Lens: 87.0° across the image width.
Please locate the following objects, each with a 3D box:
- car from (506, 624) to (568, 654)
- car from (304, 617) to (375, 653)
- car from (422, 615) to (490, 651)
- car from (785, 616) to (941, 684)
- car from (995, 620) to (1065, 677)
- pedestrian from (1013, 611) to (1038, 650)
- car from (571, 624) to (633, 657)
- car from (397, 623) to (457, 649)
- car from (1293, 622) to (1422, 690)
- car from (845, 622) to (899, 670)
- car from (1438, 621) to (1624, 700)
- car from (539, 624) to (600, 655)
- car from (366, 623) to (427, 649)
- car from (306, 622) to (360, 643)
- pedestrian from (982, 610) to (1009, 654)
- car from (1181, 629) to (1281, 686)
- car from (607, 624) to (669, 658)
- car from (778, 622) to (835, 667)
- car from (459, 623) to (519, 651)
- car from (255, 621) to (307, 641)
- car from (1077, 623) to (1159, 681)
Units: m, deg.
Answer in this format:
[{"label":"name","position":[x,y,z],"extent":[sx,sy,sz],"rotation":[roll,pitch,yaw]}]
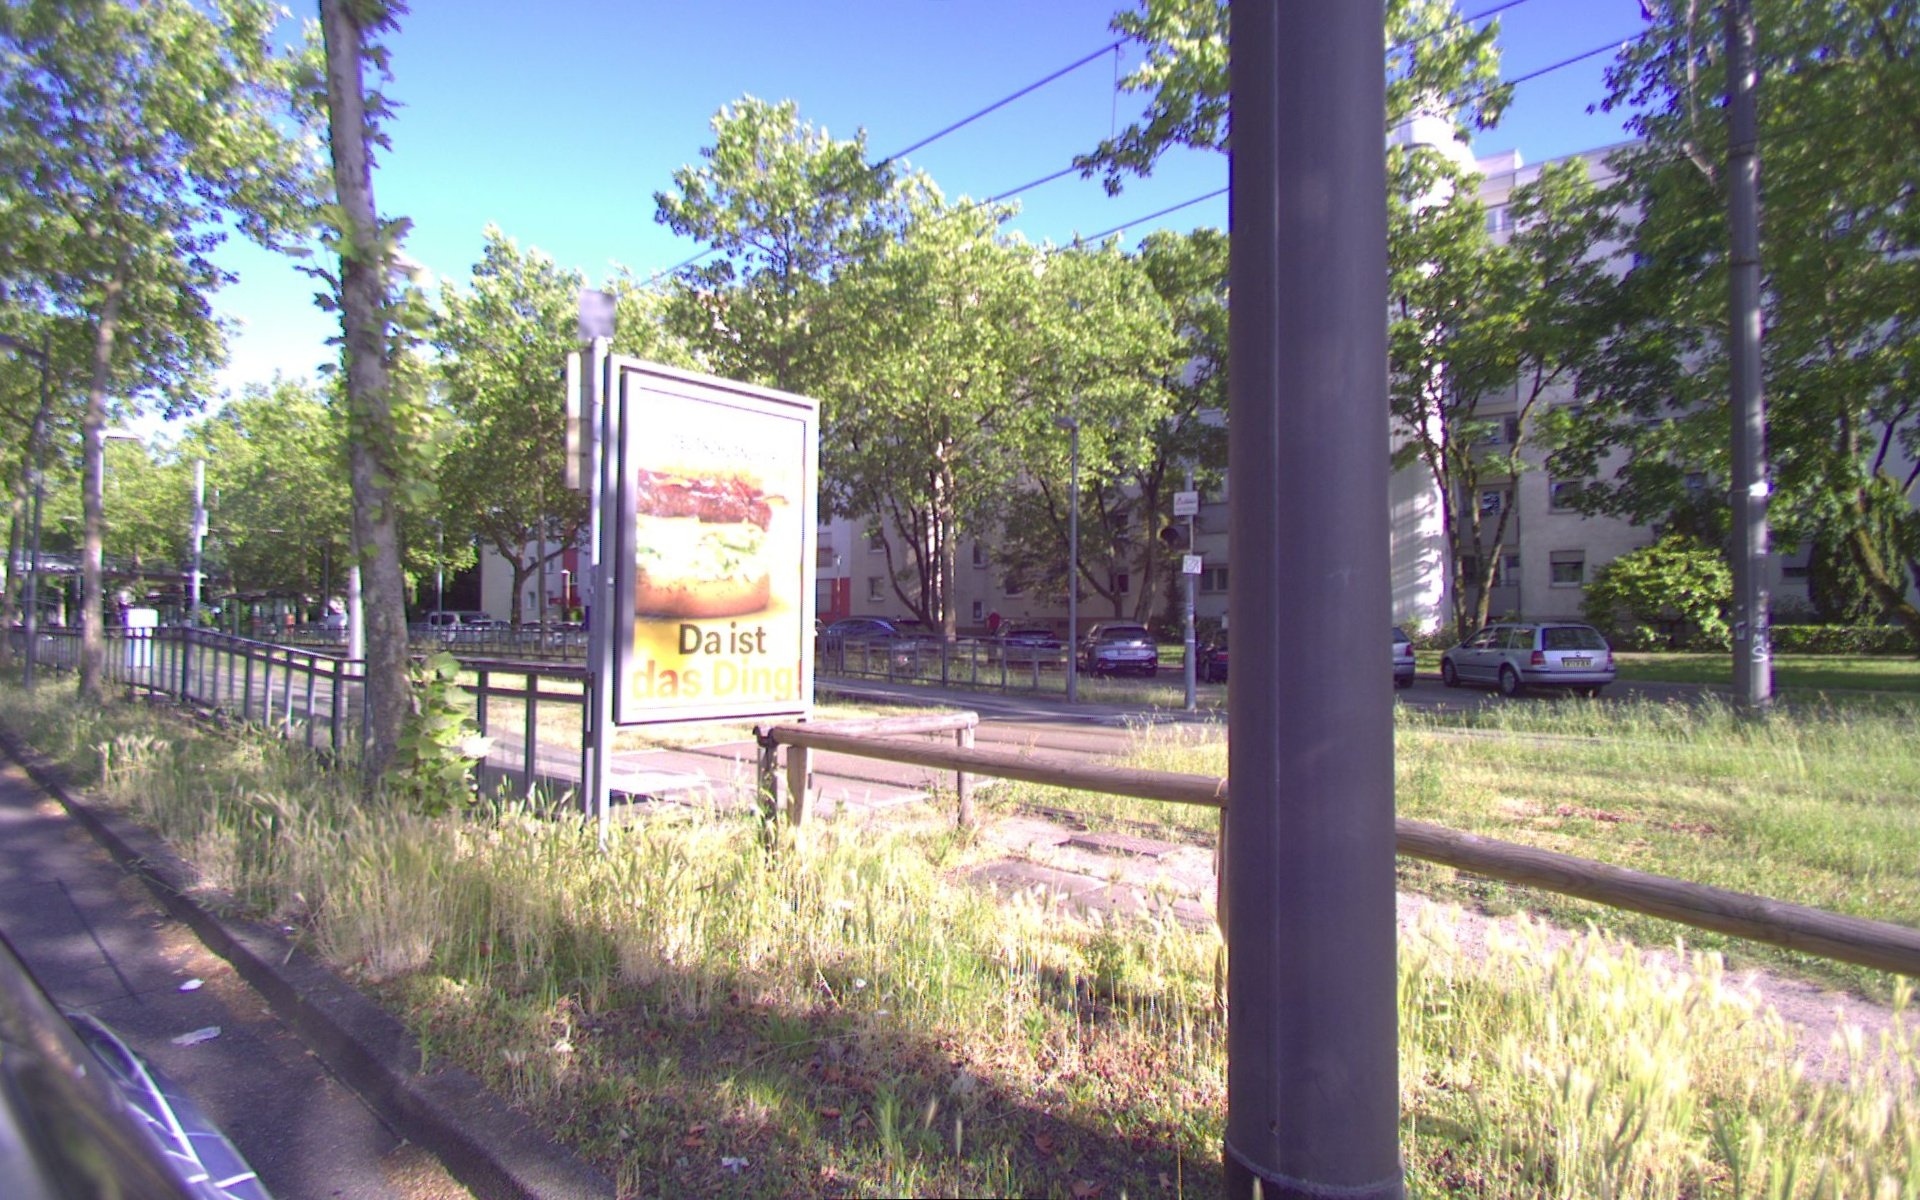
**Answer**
[{"label":"car","position":[-21.332,1.946,51.179],"extent":[1.633,1.452,3.805],"rotation":[-1,-1,-2]},{"label":"car","position":[-33.941,1.903,55.267],"extent":[4.897,1.835,1.809],"rotation":[-1,-1,39]},{"label":"car","position":[-28.448,1.831,57.250],"extent":[1.814,1.888,4.323],"rotation":[-1,-1,-2]},{"label":"car","position":[-2.621,1.274,26.764],"extent":[4.293,1.631,1.634],"rotation":[-2,-1,42]},{"label":"car","position":[1.988,1.359,29.663],"extent":[1.633,1.522,3.805],"rotation":[-1,-1,-2]},{"label":"pedestrian","position":[2.807,1.286,43.475],"extent":[0.786,1.635,0.755],"rotation":[-1,0,39]},{"label":"car","position":[-16.621,1.861,47.155],"extent":[1.633,1.452,3.805],"rotation":[-1,-1,-2]},{"label":"car","position":[-31.327,2.090,59.595],"extent":[1.633,1.452,3.805],"rotation":[-1,-1,-2]},{"label":"car","position":[9.148,1.242,23.587],"extent":[1.559,1.413,3.638],"rotation":[-1,-1,0]},{"label":"car","position":[-2.971,1.531,34.645],"extent":[1.633,1.522,3.805],"rotation":[-1,-1,-2]},{"label":"car","position":[11.479,1.164,20.661],"extent":[1.559,1.413,3.906],"rotation":[-1,-1,0]},{"label":"car","position":[-19.040,1.903,49.536],"extent":[1.633,1.452,3.805],"rotation":[-1,-1,-2]},{"label":"car","position":[-33.689,2.121,60.598],"extent":[1.633,1.452,3.805],"rotation":[-1,-1,-2]},{"label":"car","position":[-44.974,2.296,72.677],"extent":[1.633,1.452,3.805],"rotation":[-1,-1,-2]},{"label":"pedestrian","position":[1.446,1.288,40.974],"extent":[0.786,1.745,0.755],"rotation":[-1,0,39]},{"label":"car","position":[6.680,1.381,25.273],"extent":[1.445,1.234,3.815],"rotation":[-1,-1,0]},{"label":"car","position":[-14.058,1.771,44.333],"extent":[1.633,1.366,3.805],"rotation":[-1,-1,-2]},{"label":"car","position":[-5.561,1.574,37.014],"extent":[1.633,1.522,3.805],"rotation":[-1,-1,-2]},{"label":"car","position":[-25.866,2.006,55.656],"extent":[1.633,1.452,3.805],"rotation":[-1,-1,-2]},{"label":"car","position":[-53.045,2.411,79.149],"extent":[1.633,1.452,3.805],"rotation":[-1,-1,-2]},{"label":"car","position":[4.223,1.368,27.515],"extent":[1.633,1.413,3.803],"rotation":[-1,-1,0]}]
